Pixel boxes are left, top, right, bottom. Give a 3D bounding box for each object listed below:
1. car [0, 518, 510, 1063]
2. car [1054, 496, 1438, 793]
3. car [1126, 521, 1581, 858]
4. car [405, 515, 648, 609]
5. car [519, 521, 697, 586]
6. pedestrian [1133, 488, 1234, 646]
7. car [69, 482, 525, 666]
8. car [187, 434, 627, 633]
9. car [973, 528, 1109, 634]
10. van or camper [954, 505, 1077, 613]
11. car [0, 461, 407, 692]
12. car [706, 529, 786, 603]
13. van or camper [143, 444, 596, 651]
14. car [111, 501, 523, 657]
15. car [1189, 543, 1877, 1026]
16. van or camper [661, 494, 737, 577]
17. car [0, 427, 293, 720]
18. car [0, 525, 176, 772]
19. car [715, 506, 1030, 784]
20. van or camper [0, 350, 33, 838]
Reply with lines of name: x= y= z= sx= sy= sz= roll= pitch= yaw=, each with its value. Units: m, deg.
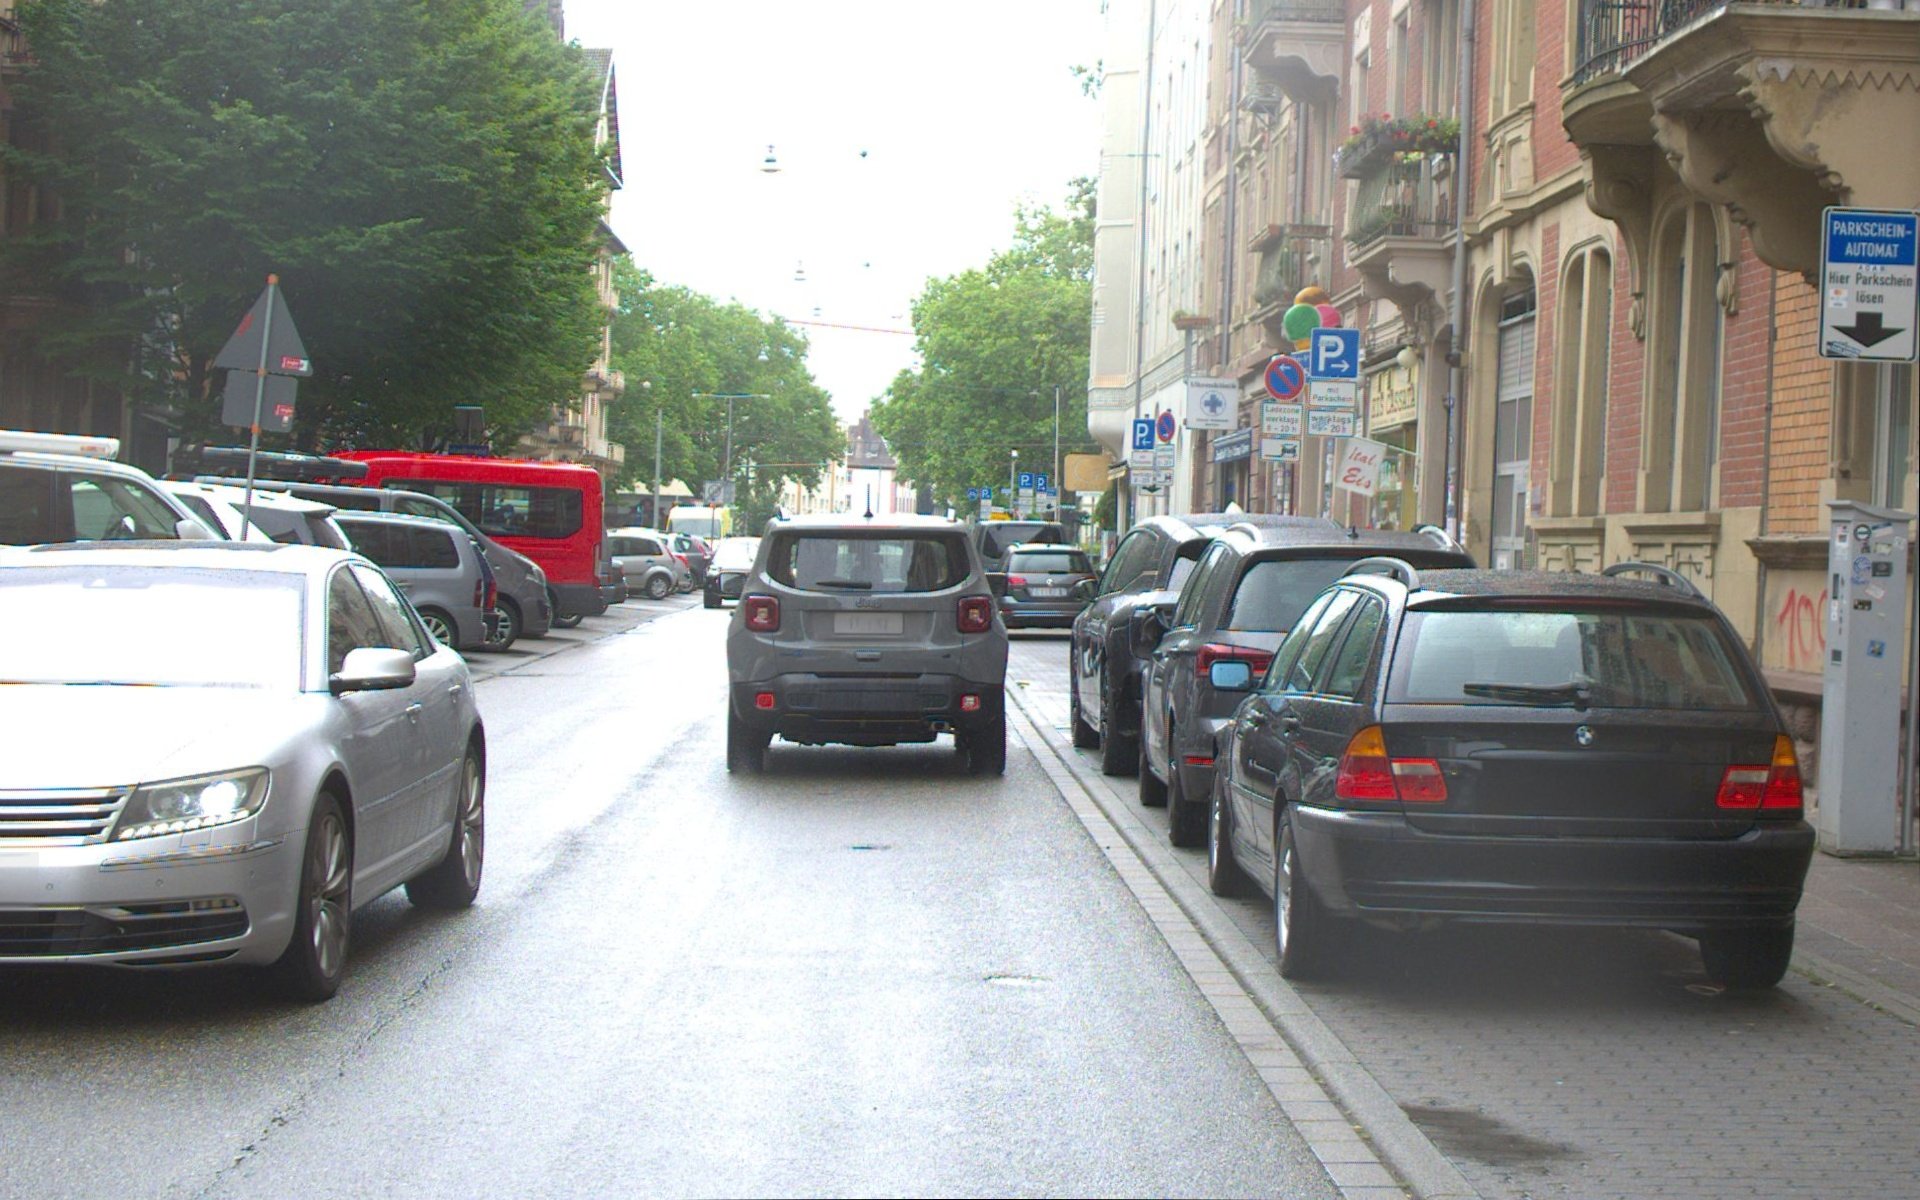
car: x=-2.845 y=0.490 z=12.150 sx=1.795 sy=1.488 sz=4.583 roll=1 pitch=2 yaw=1
car: x=1.811 y=0.234 z=23.382 sx=1.993 sy=1.773 sz=4.827 roll=1 pitch=1 yaw=-2
car: x=1.944 y=0.376 z=18.256 sx=1.871 sy=1.556 sz=4.345 roll=1 pitch=1 yaw=0
car: x=-7.794 y=-0.680 z=62.041 sx=3.967 sy=1.442 sz=1.767 roll=3 pitch=1 yaw=-41
car: x=-8.062 y=-1.055 z=78.840 sx=3.702 sy=1.447 sz=1.685 roll=0 pitch=1 yaw=-36
pedestrian: x=2.984 y=-0.444 z=45.820 sx=0.680 sy=1.928 sz=0.808 roll=1 pitch=-20 yaw=34
car: x=-7.197 y=-0.278 z=37.396 sx=4.430 sy=1.625 sz=1.845 roll=4 pitch=1 yaw=-27
car: x=-7.715 y=-0.922 z=48.083 sx=5.554 sy=2.532 sz=2.230 roll=2 pitch=1 yaw=-28
car: x=1.226 y=-0.319 z=53.479 sx=1.841 sy=1.540 sz=4.004 roll=1 pitch=1 yaw=-2
van or camper: x=0.963 y=-0.768 z=62.911 sx=2.021 sy=1.884 sz=5.055 roll=1 pitch=1 yaw=-1
car: x=-7.539 y=-0.281 z=31.163 sx=4.578 sy=1.779 sz=2.546 roll=4 pitch=1 yaw=-2
car: x=-4.742 y=-0.771 z=76.271 sx=1.669 sy=1.554 sz=4.004 roll=2 pitch=1 yaw=-3
van or camper: x=-7.352 y=-0.647 z=42.813 sx=5.008 sy=2.341 sz=2.345 roll=2 pitch=1 yaw=-27
car: x=-7.451 y=-0.243 z=39.845 sx=4.341 sy=1.499 sz=1.755 roll=3 pitch=1 yaw=-23
car: x=1.949 y=0.563 z=13.030 sx=1.787 sy=1.461 sz=4.484 roll=2 pitch=0 yaw=0
van or camper: x=-8.723 y=-2.123 z=115.492 sx=2.121 sy=2.522 sz=6.875 roll=-2 pitch=-1 yaw=-1
car: x=-7.768 y=-0.248 z=25.309 sx=5.235 sy=2.071 sz=1.871 roll=2 pitch=0 yaw=-25
car: x=-6.883 y=0.231 z=20.356 sx=3.986 sy=1.431 sz=1.785 roll=2 pitch=1 yaw=-29
car: x=-0.623 y=0.241 z=23.360 sx=1.898 sy=1.665 sz=4.506 roll=1 pitch=1 yaw=-2
van or camper: x=-6.623 y=-0.118 z=14.404 sx=4.711 sy=2.260 sz=2.185 roll=3 pitch=2 yaw=-33
